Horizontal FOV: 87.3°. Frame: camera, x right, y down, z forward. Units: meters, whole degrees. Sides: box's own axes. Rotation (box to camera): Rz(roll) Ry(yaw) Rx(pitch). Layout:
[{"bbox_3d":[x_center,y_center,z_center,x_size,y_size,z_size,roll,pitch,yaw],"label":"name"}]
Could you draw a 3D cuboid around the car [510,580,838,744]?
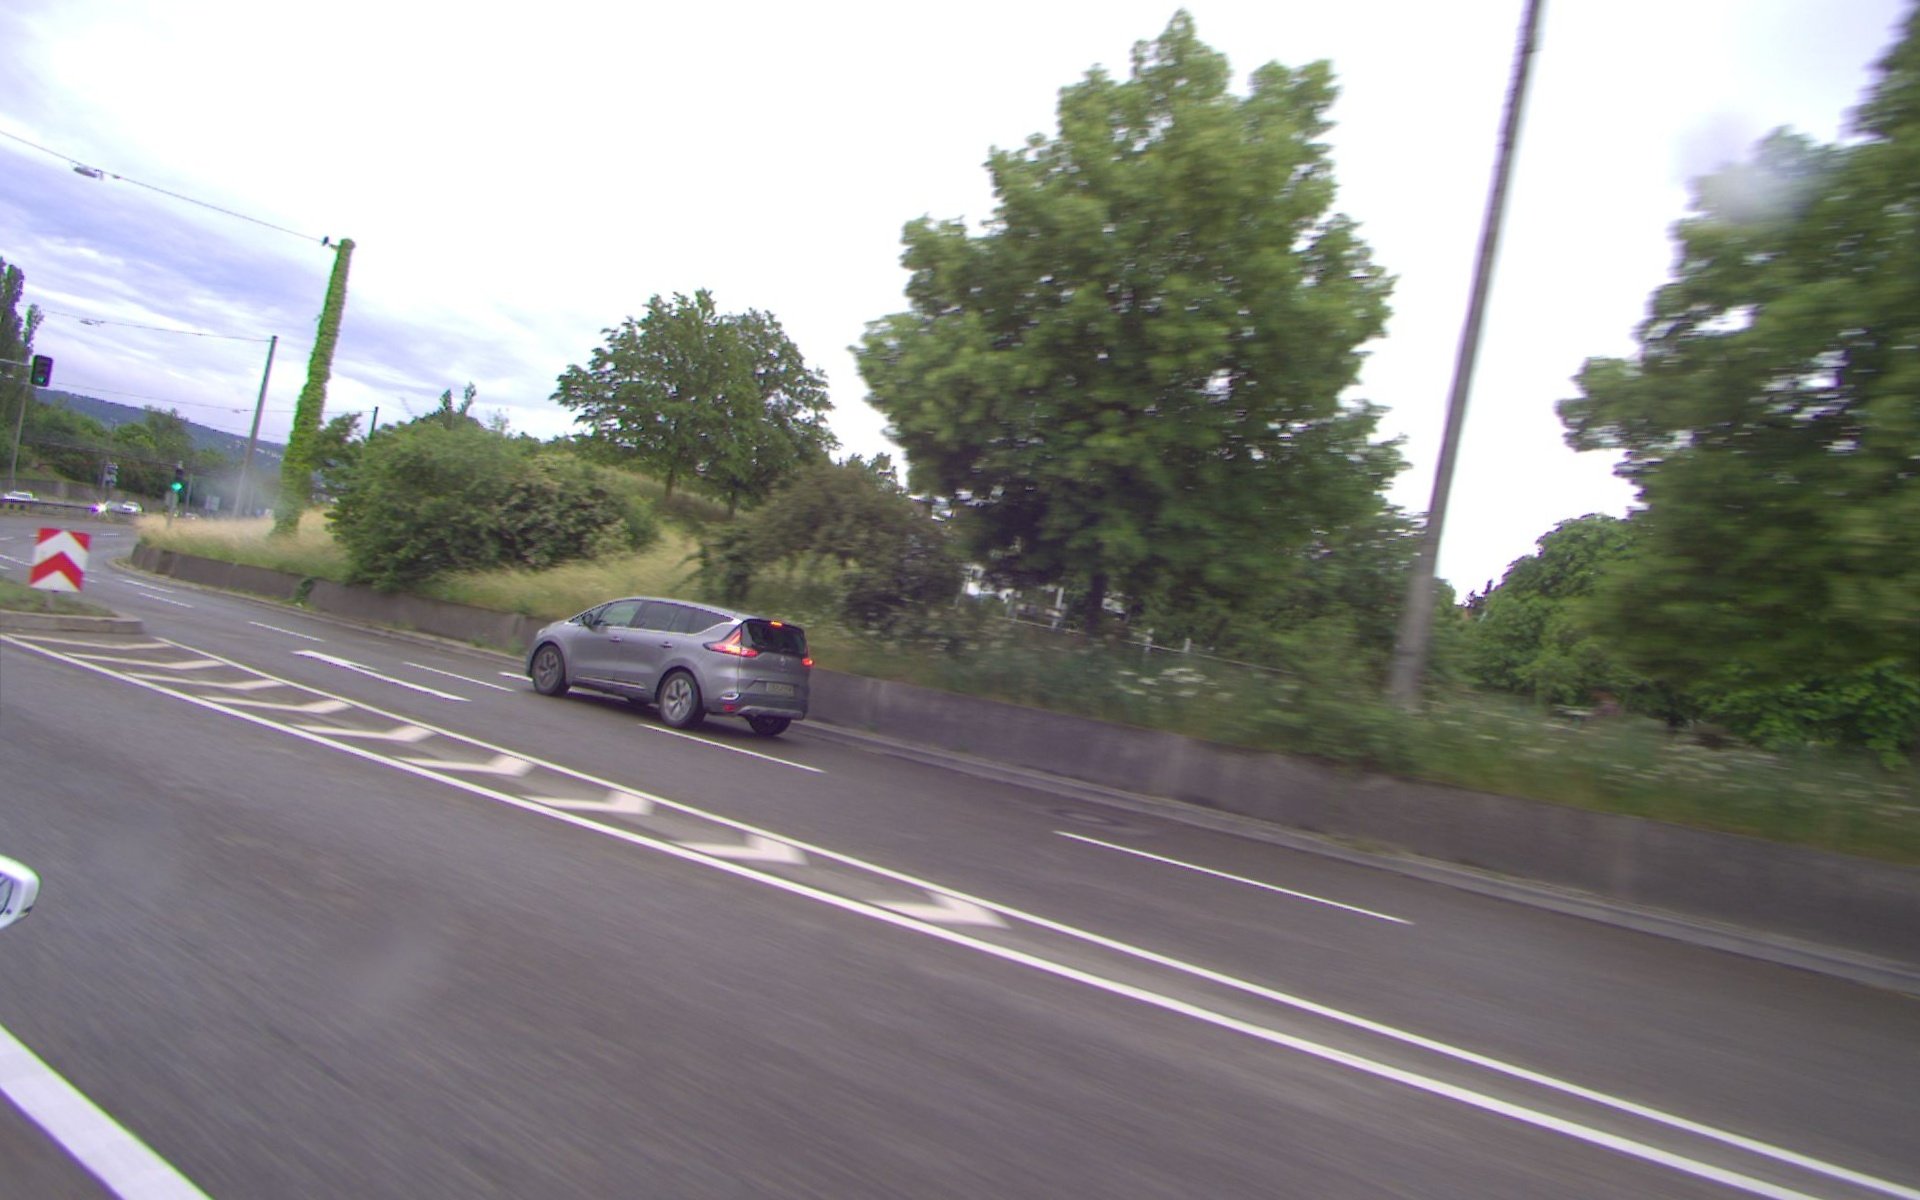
[{"bbox_3d":[-4.135,0.835,14.280,4.551,1.665,1.730,5,-5,33],"label":"car"}]
